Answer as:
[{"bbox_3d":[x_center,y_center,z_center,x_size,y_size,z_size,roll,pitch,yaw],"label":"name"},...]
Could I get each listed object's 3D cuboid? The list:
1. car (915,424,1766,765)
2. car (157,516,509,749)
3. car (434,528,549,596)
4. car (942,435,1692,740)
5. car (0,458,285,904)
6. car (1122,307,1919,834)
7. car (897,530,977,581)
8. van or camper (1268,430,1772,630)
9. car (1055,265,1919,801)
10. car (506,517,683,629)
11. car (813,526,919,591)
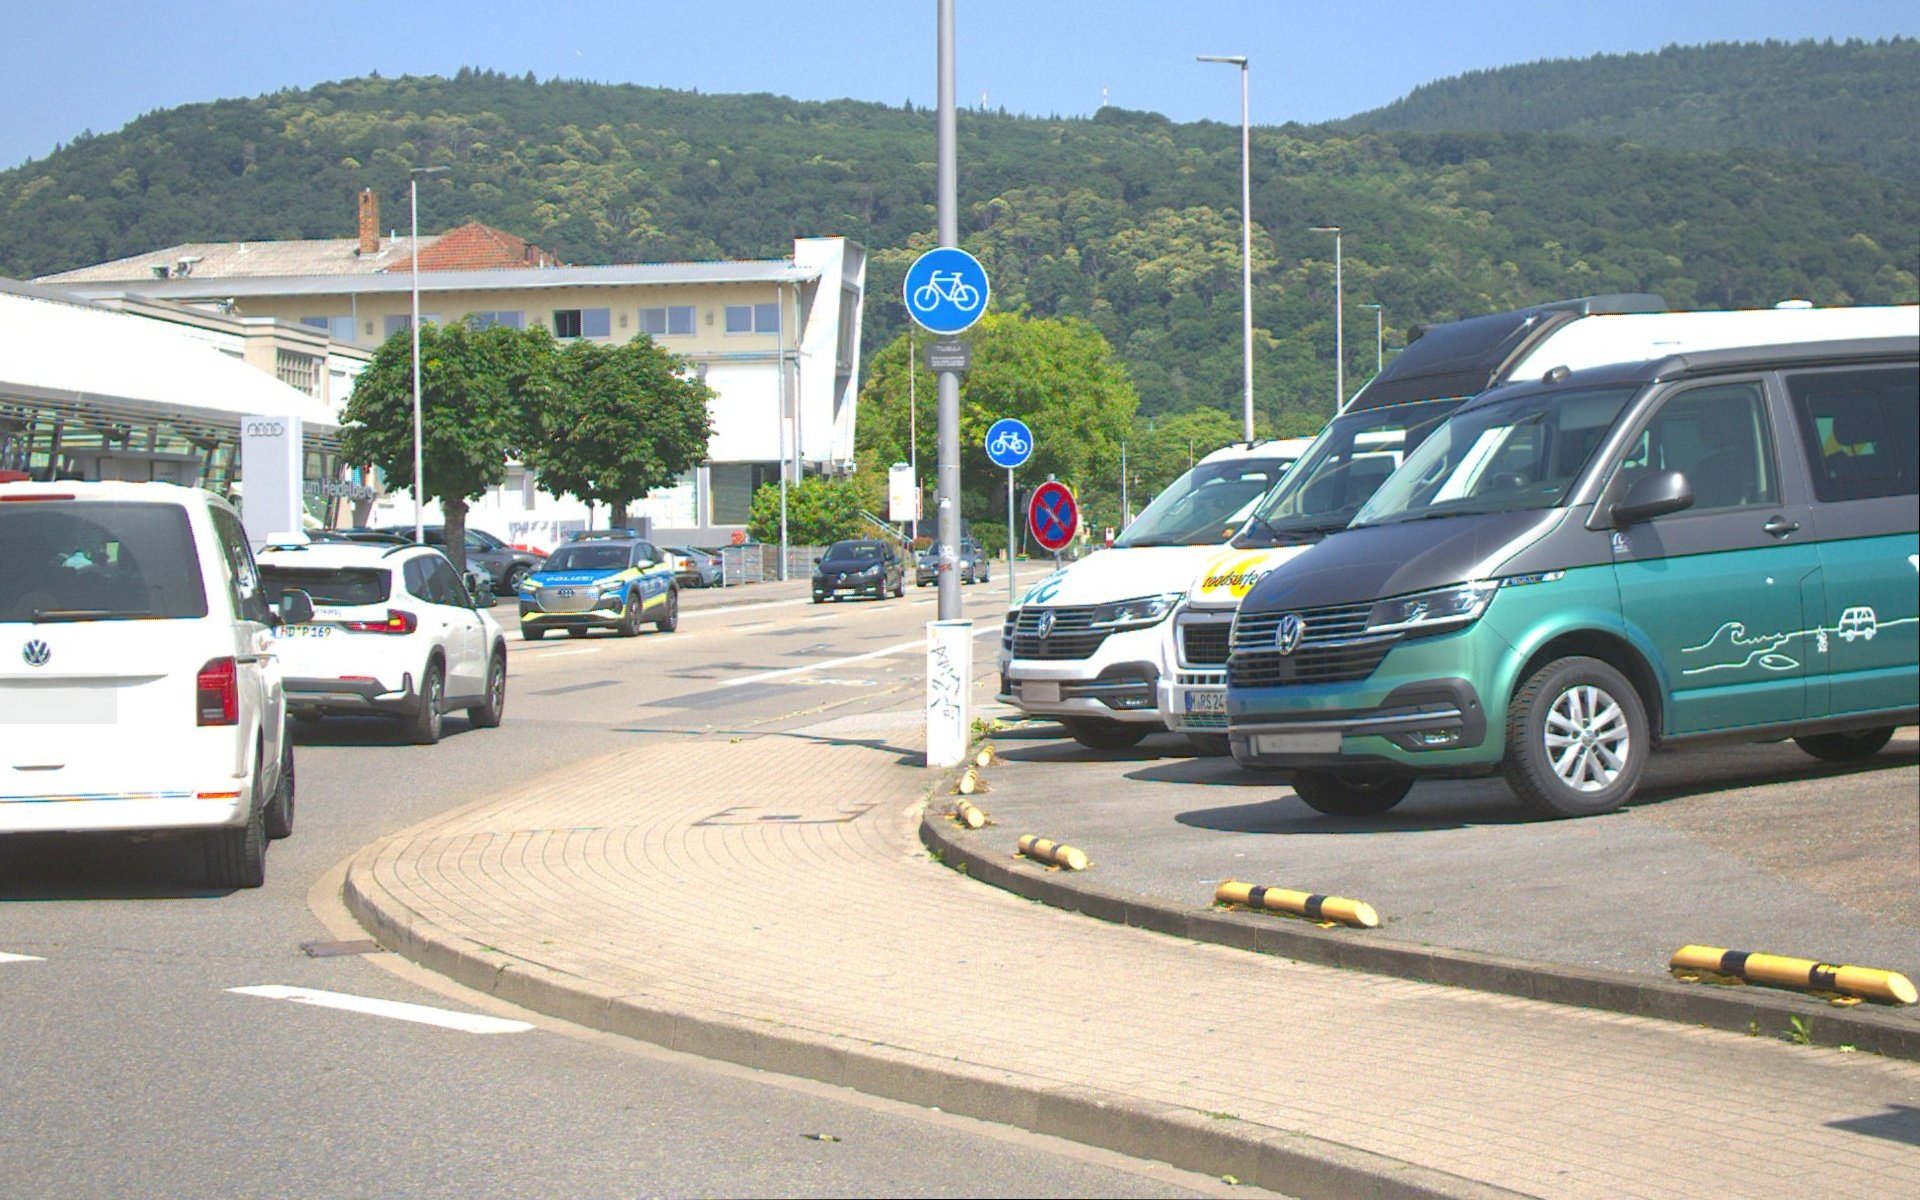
[{"bbox_3d":[2.491,-0.087,22.328,5.142,1.993,2.025,-2,1,-25],"label":"car"},{"bbox_3d":[-5.137,0.205,28.705,1.994,1.701,4.000,2,2,3],"label":"car"},{"bbox_3d":[-11.293,-0.928,82.683,1.745,1.579,3.662,-1,1,-24],"label":"car"},{"bbox_3d":[2.637,-0.142,25.374,5.132,2.007,1.931,-2,1,-21],"label":"car"},{"bbox_3d":[-4.703,0.334,17.930,2.161,2.007,5.019,0,1,-9],"label":"car"},{"bbox_3d":[3.535,-0.192,15.918,5.210,2.106,2.097,-2,1,-29],"label":"car"},{"bbox_3d":[-0.658,-1.338,102.252,1.842,1.459,3.999,-1,1,7],"label":"car"},{"bbox_3d":[7.564,-0.925,46.518,6.507,2.552,2.973,0,1,10],"label":"van or camper"},{"bbox_3d":[3.811,-0.427,19.785,6.136,2.707,2.307,-2,1,-27],"label":"car"},{"bbox_3d":[-5.996,-0.483,56.902,1.909,1.754,4.450,-1,1,7],"label":"car"},{"bbox_3d":[-2.202,-0.997,81.796,1.842,1.459,3.999,-1,1,8],"label":"car"}]
